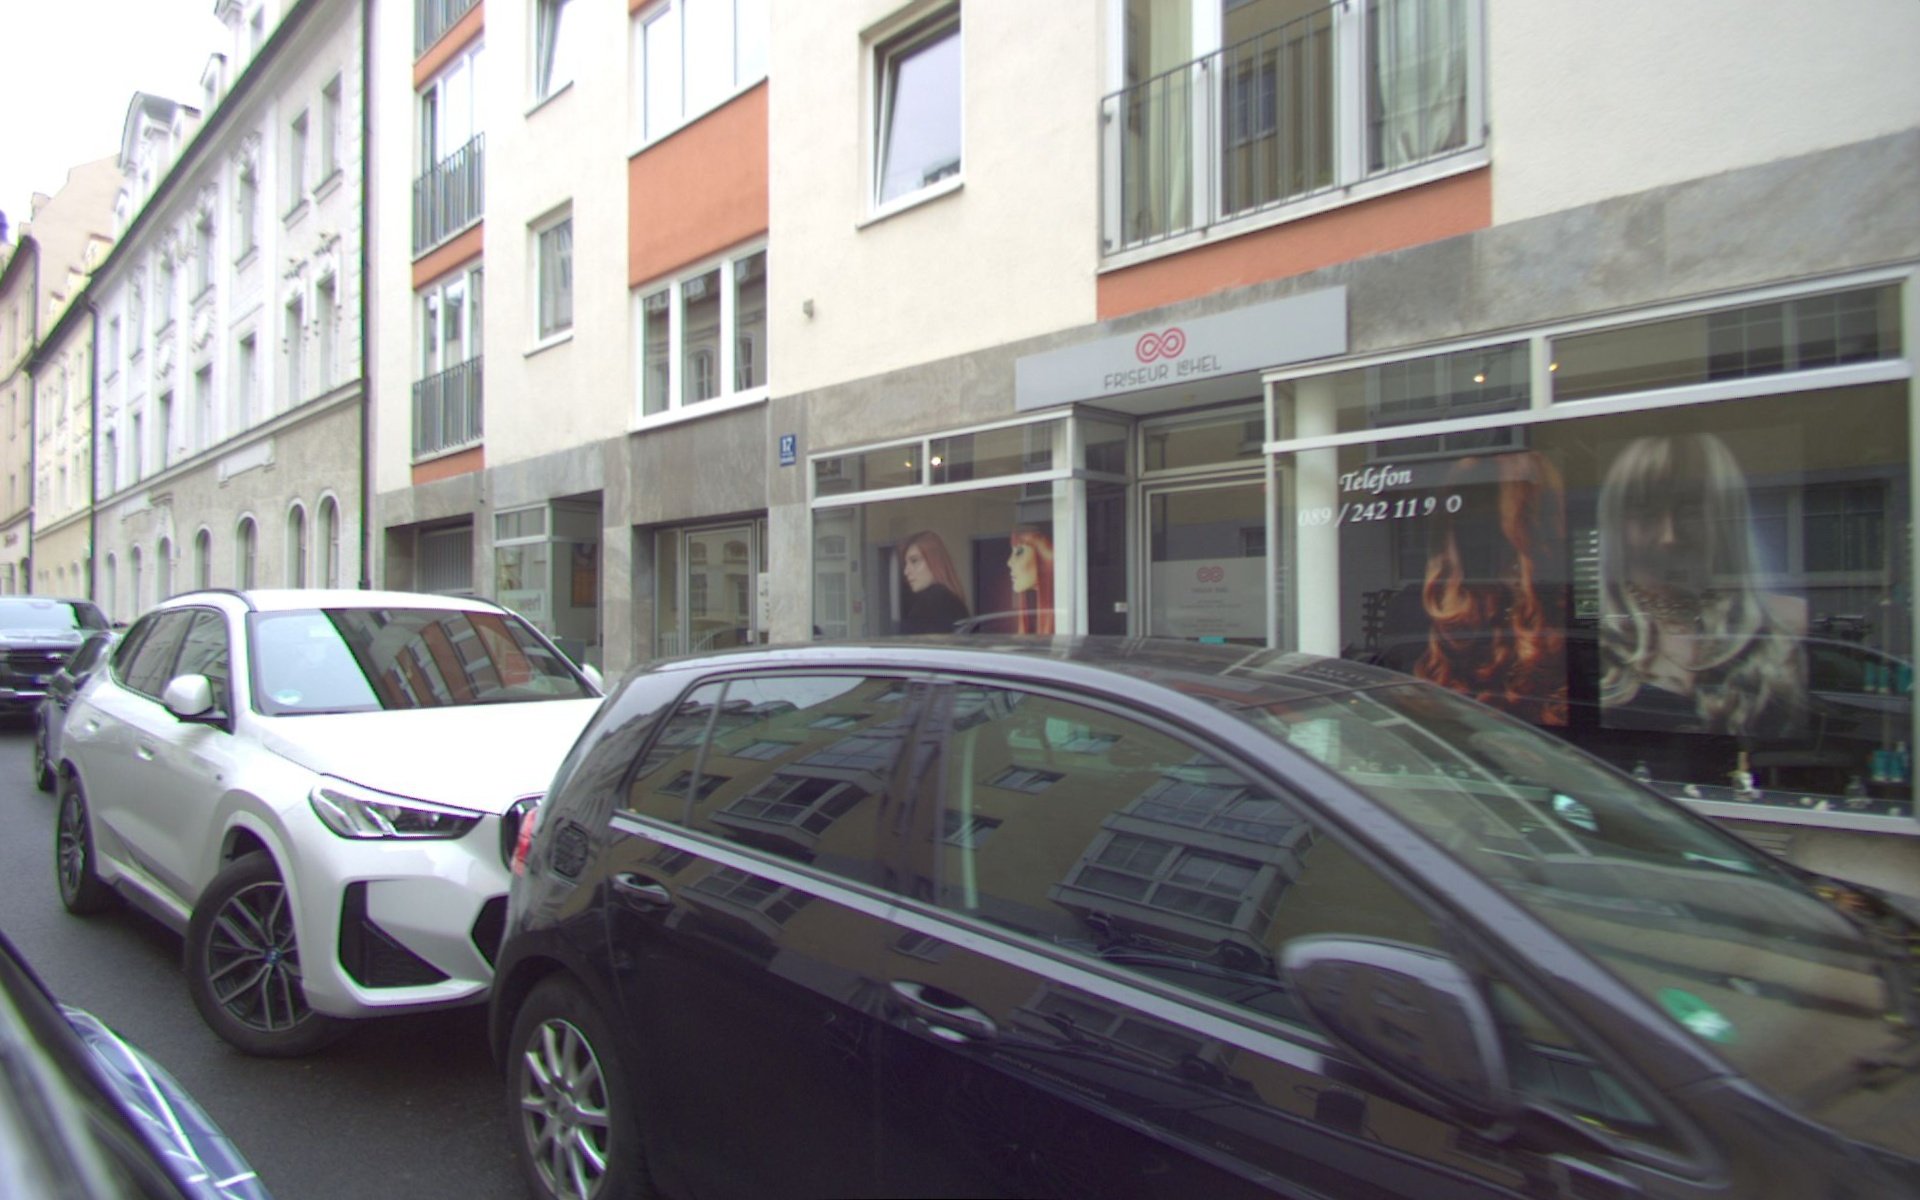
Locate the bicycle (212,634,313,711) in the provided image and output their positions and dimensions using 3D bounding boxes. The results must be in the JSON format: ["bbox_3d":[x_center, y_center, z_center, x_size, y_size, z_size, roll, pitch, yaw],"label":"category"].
[{"bbox_3d":[-11.772,1.174,17.031,2.826,1.112,0.744,-2,4,44],"label":"bicycle"}]

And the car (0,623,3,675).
[{"bbox_3d":[-26.380,1.325,26.225,3.714,1.490,1.926,-1,-4,41],"label":"car"}]

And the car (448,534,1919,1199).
[{"bbox_3d":[0.687,0.745,1.934,3.839,1.487,1.611,-2,-4,41],"label":"car"}]

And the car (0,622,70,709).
[{"bbox_3d":[-17.897,1.145,18.514,3.714,1.490,1.926,-1,-4,41],"label":"car"}]

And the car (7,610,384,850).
[{"bbox_3d":[-6.362,0.889,8.251,4.027,1.487,1.611,-2,-4,41],"label":"car"}]

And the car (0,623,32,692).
[{"bbox_3d":[-22.472,1.255,22.758,3.714,1.490,1.926,-1,-4,41],"label":"car"}]

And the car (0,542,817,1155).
[{"bbox_3d":[-2.818,0.736,4.730,4.302,1.617,1.764,-1,-4,38],"label":"car"}]

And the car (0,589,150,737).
[{"bbox_3d":[-13.659,0.860,14.815,4.906,1.875,1.926,-1,-4,41],"label":"car"}]
